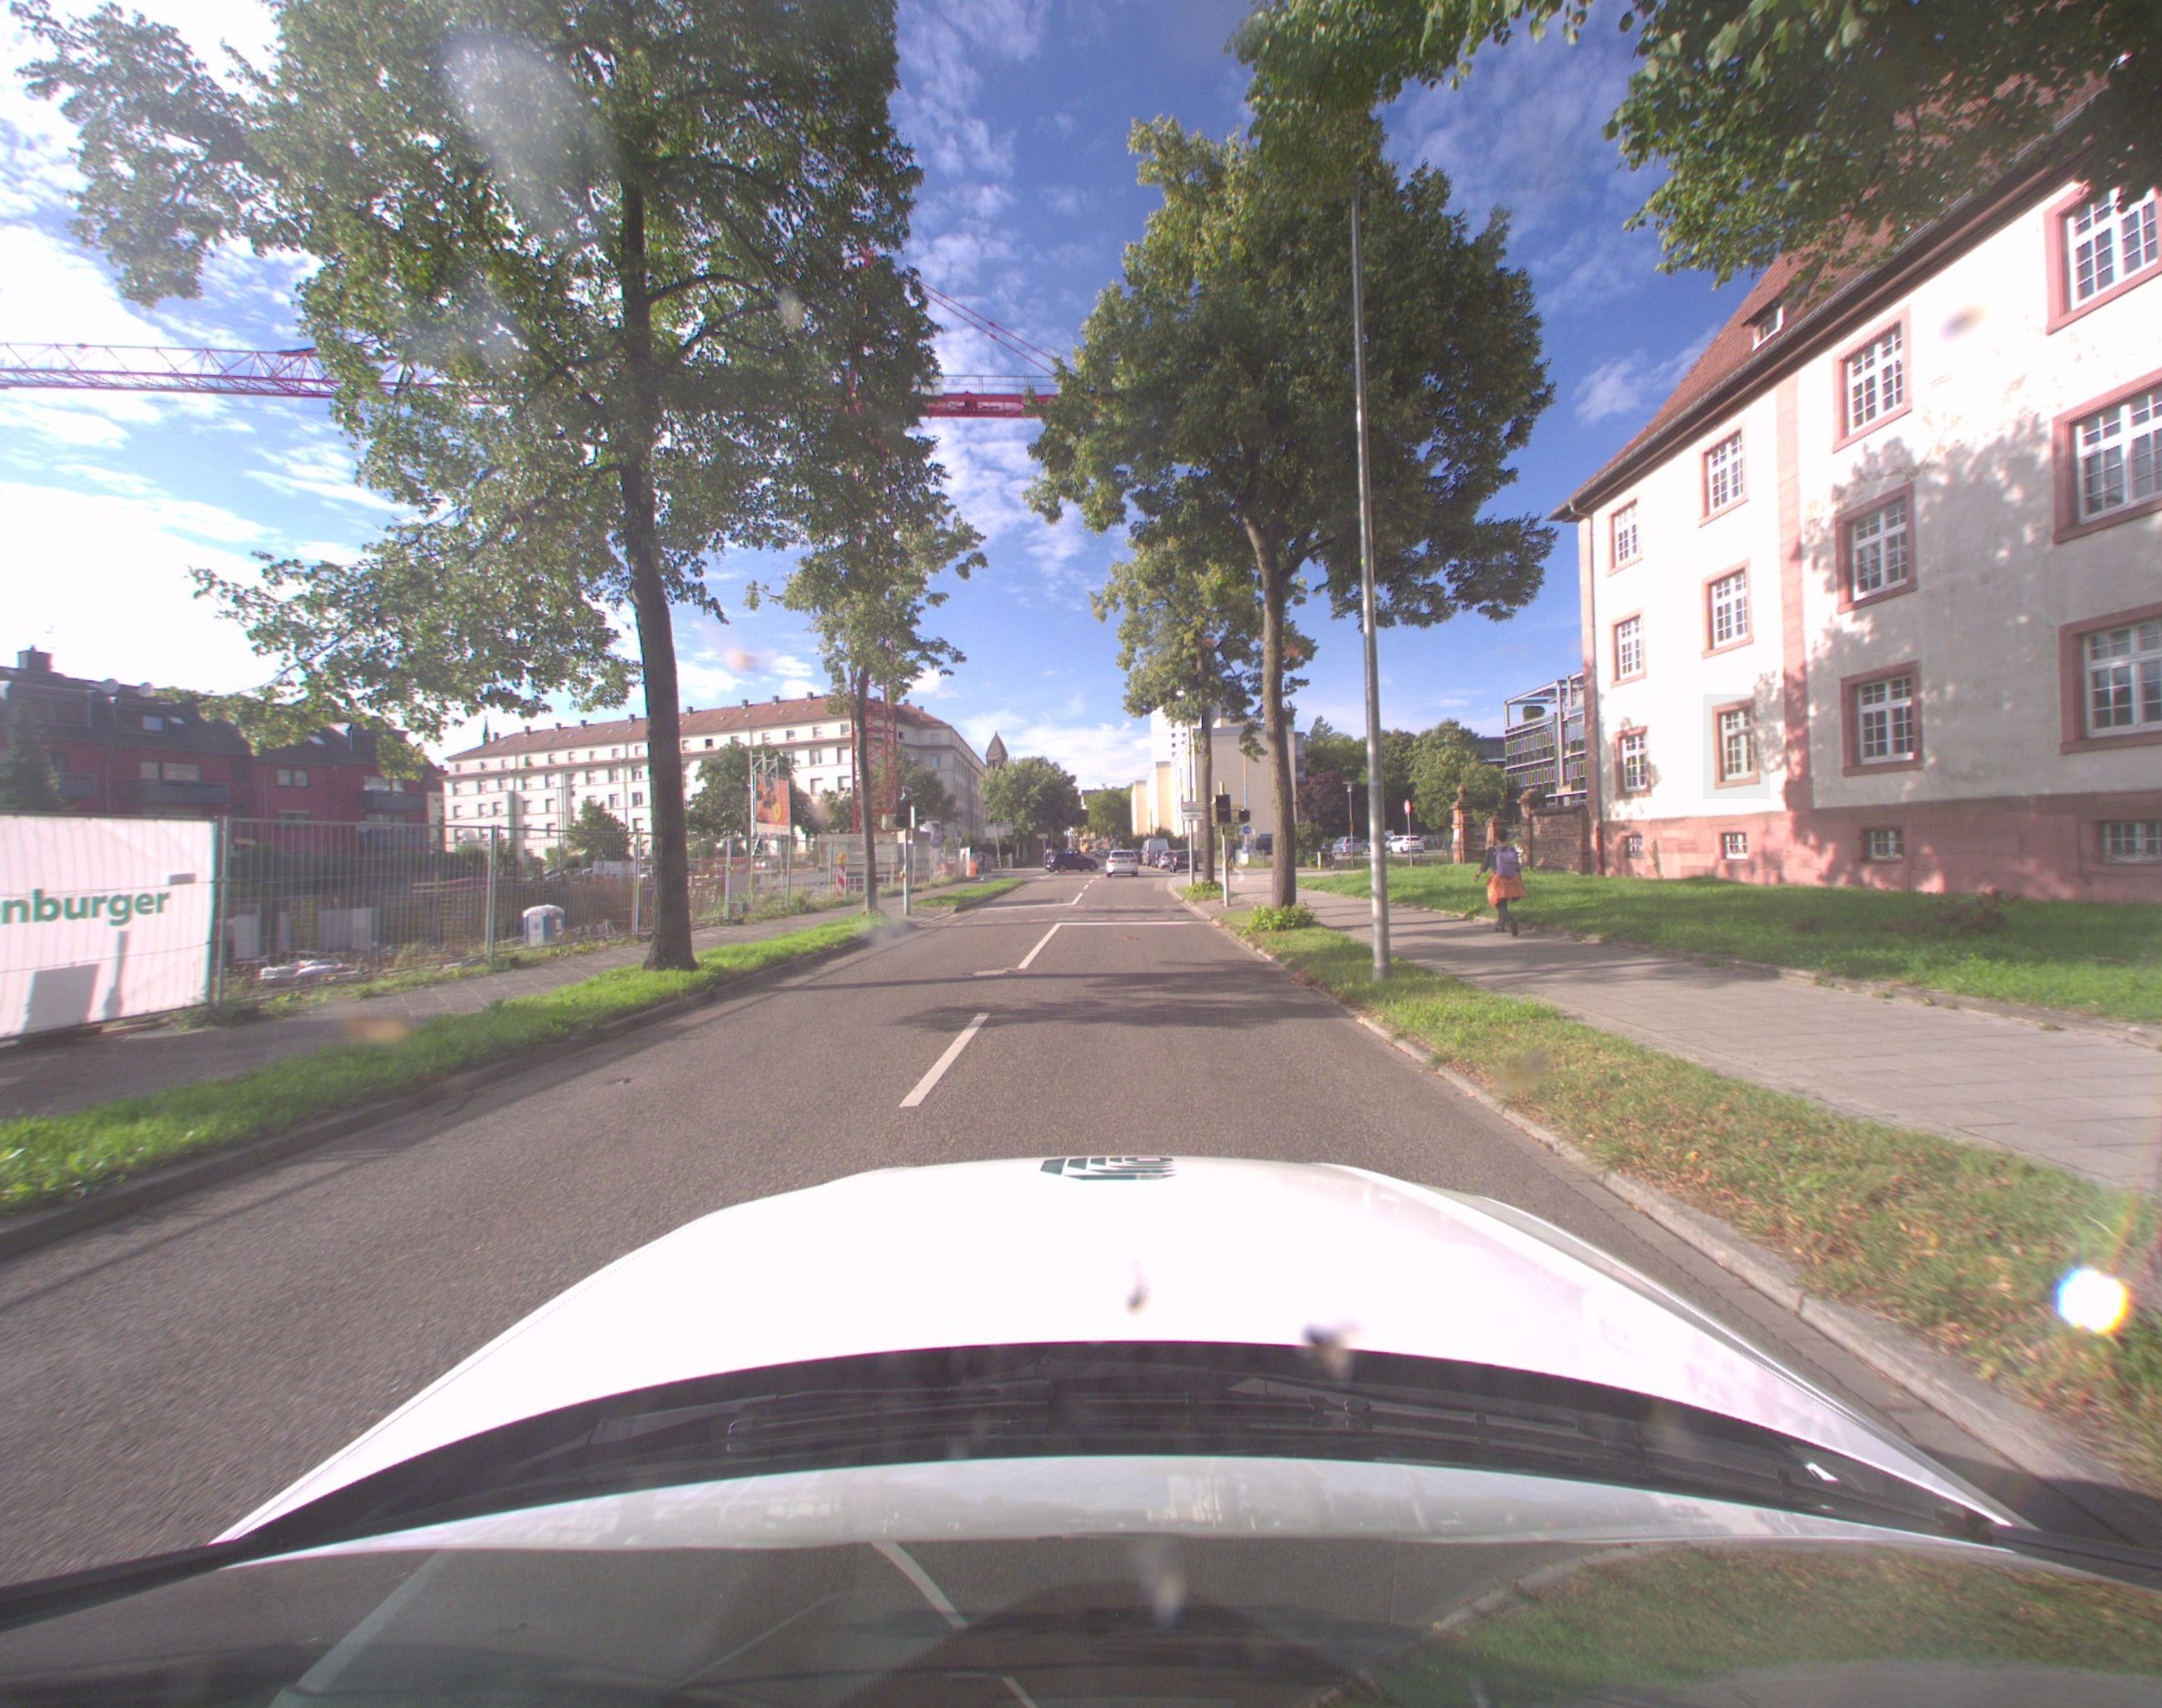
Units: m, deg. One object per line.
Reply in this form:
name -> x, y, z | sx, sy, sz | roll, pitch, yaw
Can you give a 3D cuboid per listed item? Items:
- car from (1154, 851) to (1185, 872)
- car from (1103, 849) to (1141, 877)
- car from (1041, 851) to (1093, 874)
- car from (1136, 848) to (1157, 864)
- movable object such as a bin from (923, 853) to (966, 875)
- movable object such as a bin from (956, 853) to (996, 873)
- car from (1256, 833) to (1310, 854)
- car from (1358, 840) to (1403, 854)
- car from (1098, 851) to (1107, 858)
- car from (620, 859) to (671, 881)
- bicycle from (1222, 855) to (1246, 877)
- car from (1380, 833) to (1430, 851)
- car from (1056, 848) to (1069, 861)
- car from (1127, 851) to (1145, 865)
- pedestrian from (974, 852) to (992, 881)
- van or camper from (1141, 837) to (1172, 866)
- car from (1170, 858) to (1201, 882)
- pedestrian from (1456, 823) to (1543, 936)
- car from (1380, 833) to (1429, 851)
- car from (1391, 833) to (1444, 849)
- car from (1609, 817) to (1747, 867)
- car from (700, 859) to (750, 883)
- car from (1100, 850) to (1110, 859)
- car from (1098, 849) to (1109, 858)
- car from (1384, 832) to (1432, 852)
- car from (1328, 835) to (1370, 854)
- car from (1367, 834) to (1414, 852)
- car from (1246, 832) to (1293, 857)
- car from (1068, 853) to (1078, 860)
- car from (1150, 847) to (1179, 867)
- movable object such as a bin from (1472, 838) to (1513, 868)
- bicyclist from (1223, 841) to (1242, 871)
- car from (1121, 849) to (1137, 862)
car -> 7.203, 0.608, 66.708 | 2.009, 1.475, 4.801 | -3, 0, 0
car -> 2.379, 0.536, 48.348 | 1.988, 1.555, 4.272 | -1, 0, -1
car -> -1.005, 0.622, 61.660 | 1.974, 1.570, 4.026 | -1, 0, 33
car -> 7.072, 0.196, 88.856 | 1.986, 1.574, 4.001 | -3, 0, 1
movable object such as a bin -> -11.237, 0.836, 67.136 | 3.079, 1.708, 1.554 | -1, 0, 16
movable object such as a bin -> -9.197, 0.765, 71.376 | 3.080, 1.708, 1.416 | -1, 0, 15
car -> 17.976, -0.928, 72.642 | 4.426, 1.621, 2.003 | -3, 0, 5
car -> 32.055, -0.738, 87.236 | 3.974, 1.329, 2.000 | -3, 0, 0
car -> 4.921, 0.109, 186.367 | 1.985, 1.755, 4.003 | -1, 0, 3
car -> -40.679, 1.479, 76.181 | 1.979, 2.013, 4.015 | -1, 0, 14
bicycle -> 7.872, 0.611, 42.068 | 0.737, 1.034, 2.763 | -4, 0, 2
car -> 30.619, -1.171, 77.042 | 3.973, 1.486, 2.000 | -3, 0, 1
car -> -3.191, 0.049, 141.186 | 1.986, 2.013, 4.001 | -3, 0, 1
car -> 6.656, 0.459, 99.531 | 1.986, 1.574, 4.001 | -3, 0, 1
pedestrian -> -5.919, 0.759, 49.177 | 1.007, 1.728, 1.174 | -2, -1, -10
van or camper -> 7.137, -0.268, 77.833 | 2.204, 2.607, 5.368 | -3, 0, -2
car -> 7.000, 1.026, 54.807 | 1.710, 1.496, 4.272 | -2, 0, 3
pedestrian -> 6.316, 0.377, 12.320 | 0.811, 1.590, 0.769 | -4, 0, 1
car -> 31.613, -1.171, 79.725 | 3.973, 1.596, 2.000 | -3, 0, 1
car -> 29.852, -1.124, 72.326 | 3.966, 1.310, 2.004 | -1, 0, 7
car -> 21.762, -0.430, 29.946 | 1.984, 1.608, 4.511 | -3, 0, 5
car -> -32.838, 1.563, 75.310 | 1.978, 2.013, 4.018 | -3, 0, 17
car -> 4.821, 0.108, 165.568 | 1.985, 1.755, 4.003 | -1, 0, 3
car -> 4.389, -0.046, 155.544 | 1.985, 1.755, 4.003 | -1, 0, 3
car -> 26.320, -0.948, 65.638 | 1.990, 1.442, 3.993 | -3, 0, -5
car -> 21.803, -0.750, 66.350 | 1.988, 1.442, 3.999 | -3, 0, -1
car -> 31.181, -1.113, 82.229 | 3.973, 1.552, 2.000 | -3, 0, 1
car -> 18.197, -0.910, 78.839 | 4.099, 2.186, 2.003 | -3, 0, 5
car -> -2.018, 0.600, 203.912 | 2.052, 1.663, 3.920 | -3, 0, -4
car -> 7.299, 0.260, 71.872 | 1.988, 1.615, 4.406 | -3, 0, -1
movable object such as a bin -> 17.762, -0.054, 35.168 | 1.187, 1.231, 1.092 | -2, 0, -2
bicyclist -> 7.838, 0.091, 42.247 | 0.734, 1.513, 0.875 | -4, 0, 1
car -> 6.630, 0.178, 111.845 | 1.986, 1.574, 4.001 | -3, 0, 1
